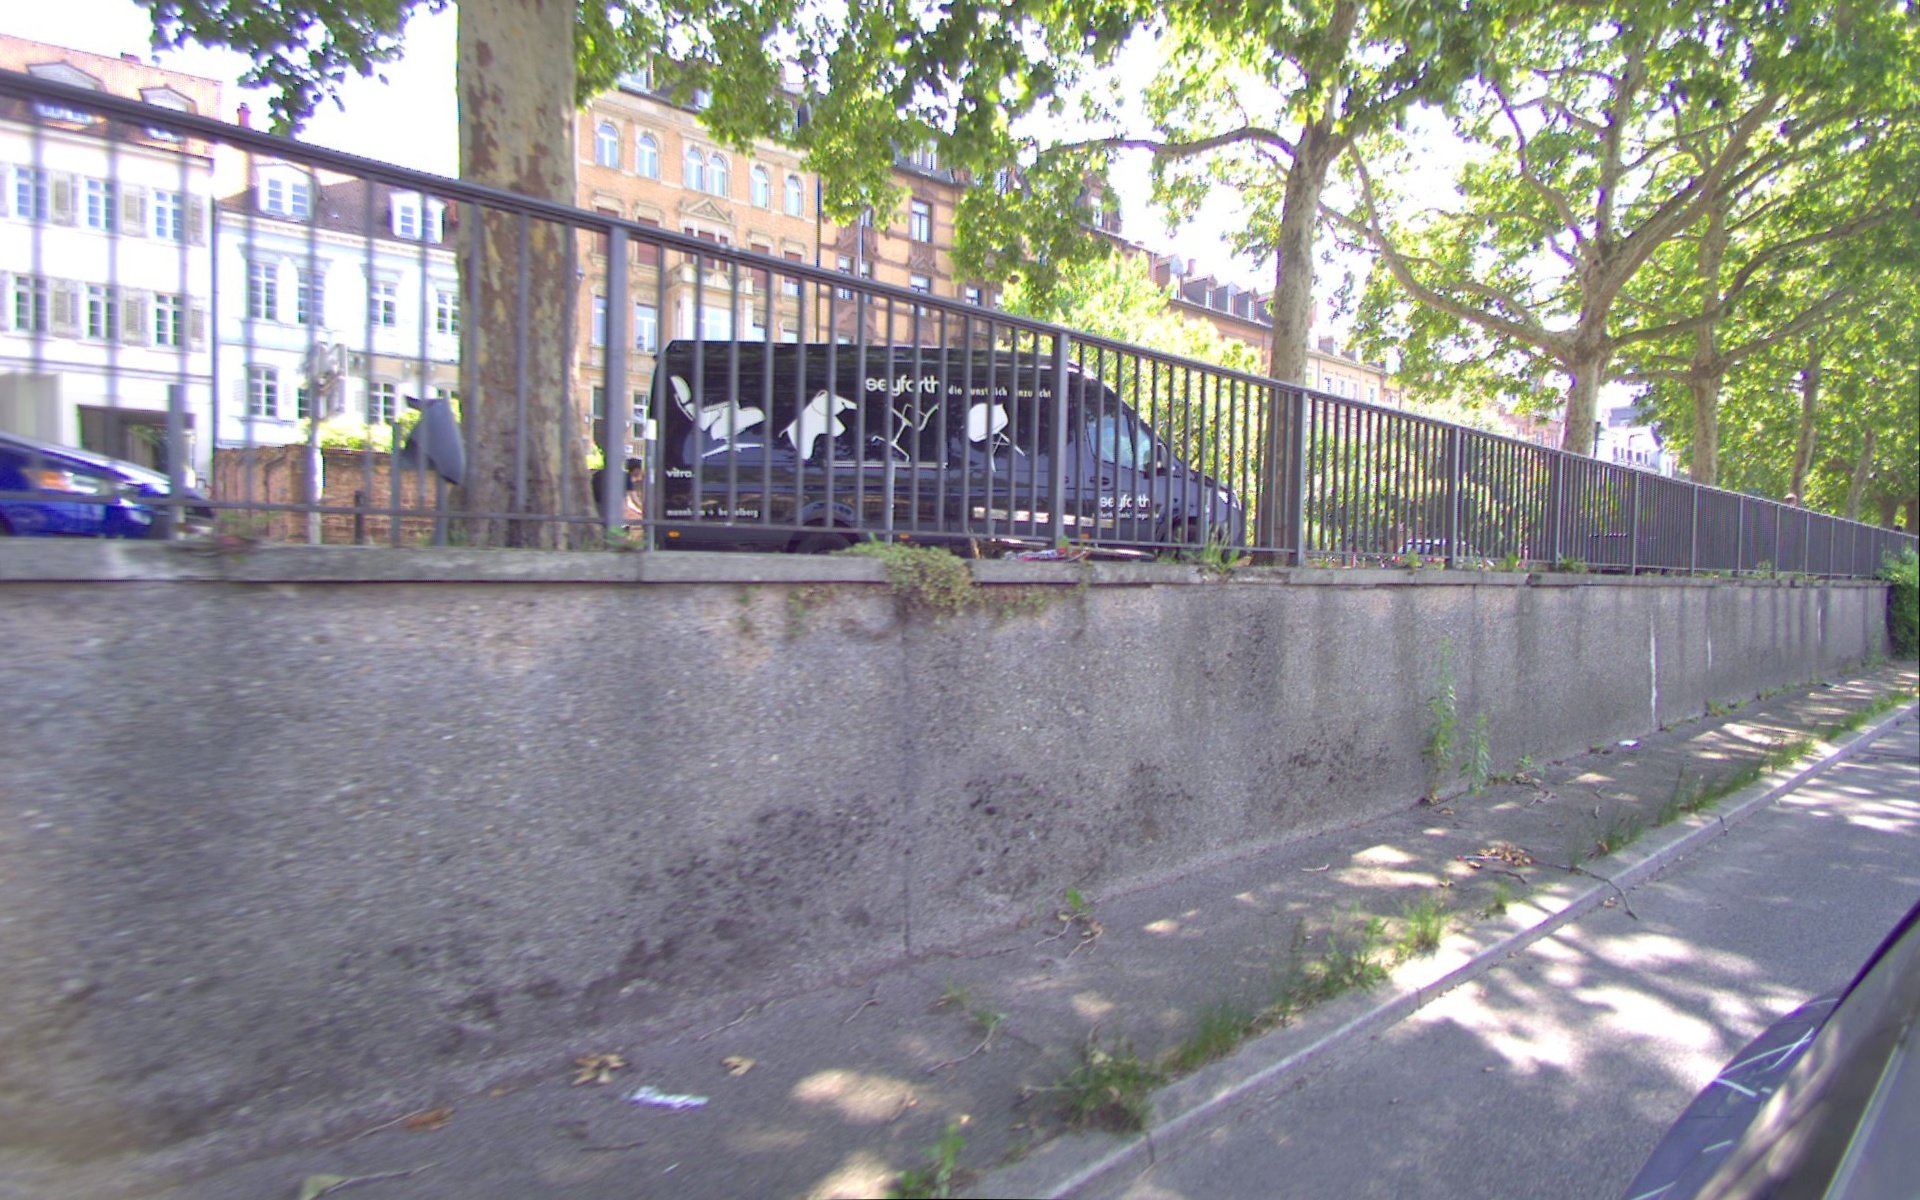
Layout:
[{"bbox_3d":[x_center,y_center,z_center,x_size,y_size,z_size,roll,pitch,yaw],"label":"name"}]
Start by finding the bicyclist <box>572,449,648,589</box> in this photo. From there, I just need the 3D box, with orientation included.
[{"bbox_3d":[-4.423,-1.002,12.779,0.827,1.704,0.705,-2,0,-22],"label":"bicyclist"}]

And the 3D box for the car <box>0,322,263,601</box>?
[{"bbox_3d":[-6.620,-0.771,6.011,3.737,1.519,1.658,0,1,-15],"label":"car"}]

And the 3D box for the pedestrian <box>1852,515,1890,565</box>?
[{"bbox_3d":[25.843,-1.704,28.714,0.781,1.382,0.645,0,4,-42],"label":"pedestrian"}]

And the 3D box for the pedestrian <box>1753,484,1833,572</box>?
[{"bbox_3d":[15.811,-1.365,19.210,1.010,1.598,0.938,0,4,-42],"label":"pedestrian"}]

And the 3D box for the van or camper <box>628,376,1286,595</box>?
[{"bbox_3d":[-0.046,-1.284,12.141,7.205,2.211,2.349,-2,0,-11],"label":"van or camper"}]

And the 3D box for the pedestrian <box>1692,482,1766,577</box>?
[{"bbox_3d":[12.202,-1.112,16.055,0.933,1.442,0.682,0,4,-41],"label":"pedestrian"}]

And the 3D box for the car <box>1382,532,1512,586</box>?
[{"bbox_3d":[15.082,-1.254,31.262,4.348,1.531,1.842,0,3,-38],"label":"car"}]

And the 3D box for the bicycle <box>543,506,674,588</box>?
[{"bbox_3d":[-4.427,-0.672,12.775,1.512,0.988,0.419,-2,0,-22],"label":"bicycle"}]

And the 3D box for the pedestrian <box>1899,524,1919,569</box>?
[{"bbox_3d":[35.629,-1.979,37.870,0.646,1.660,0.617,2,2,42],"label":"pedestrian"}]

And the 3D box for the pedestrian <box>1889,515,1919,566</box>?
[{"bbox_3d":[26.202,-1.634,27.874,0.800,1.382,0.754,0,4,-42],"label":"pedestrian"}]
